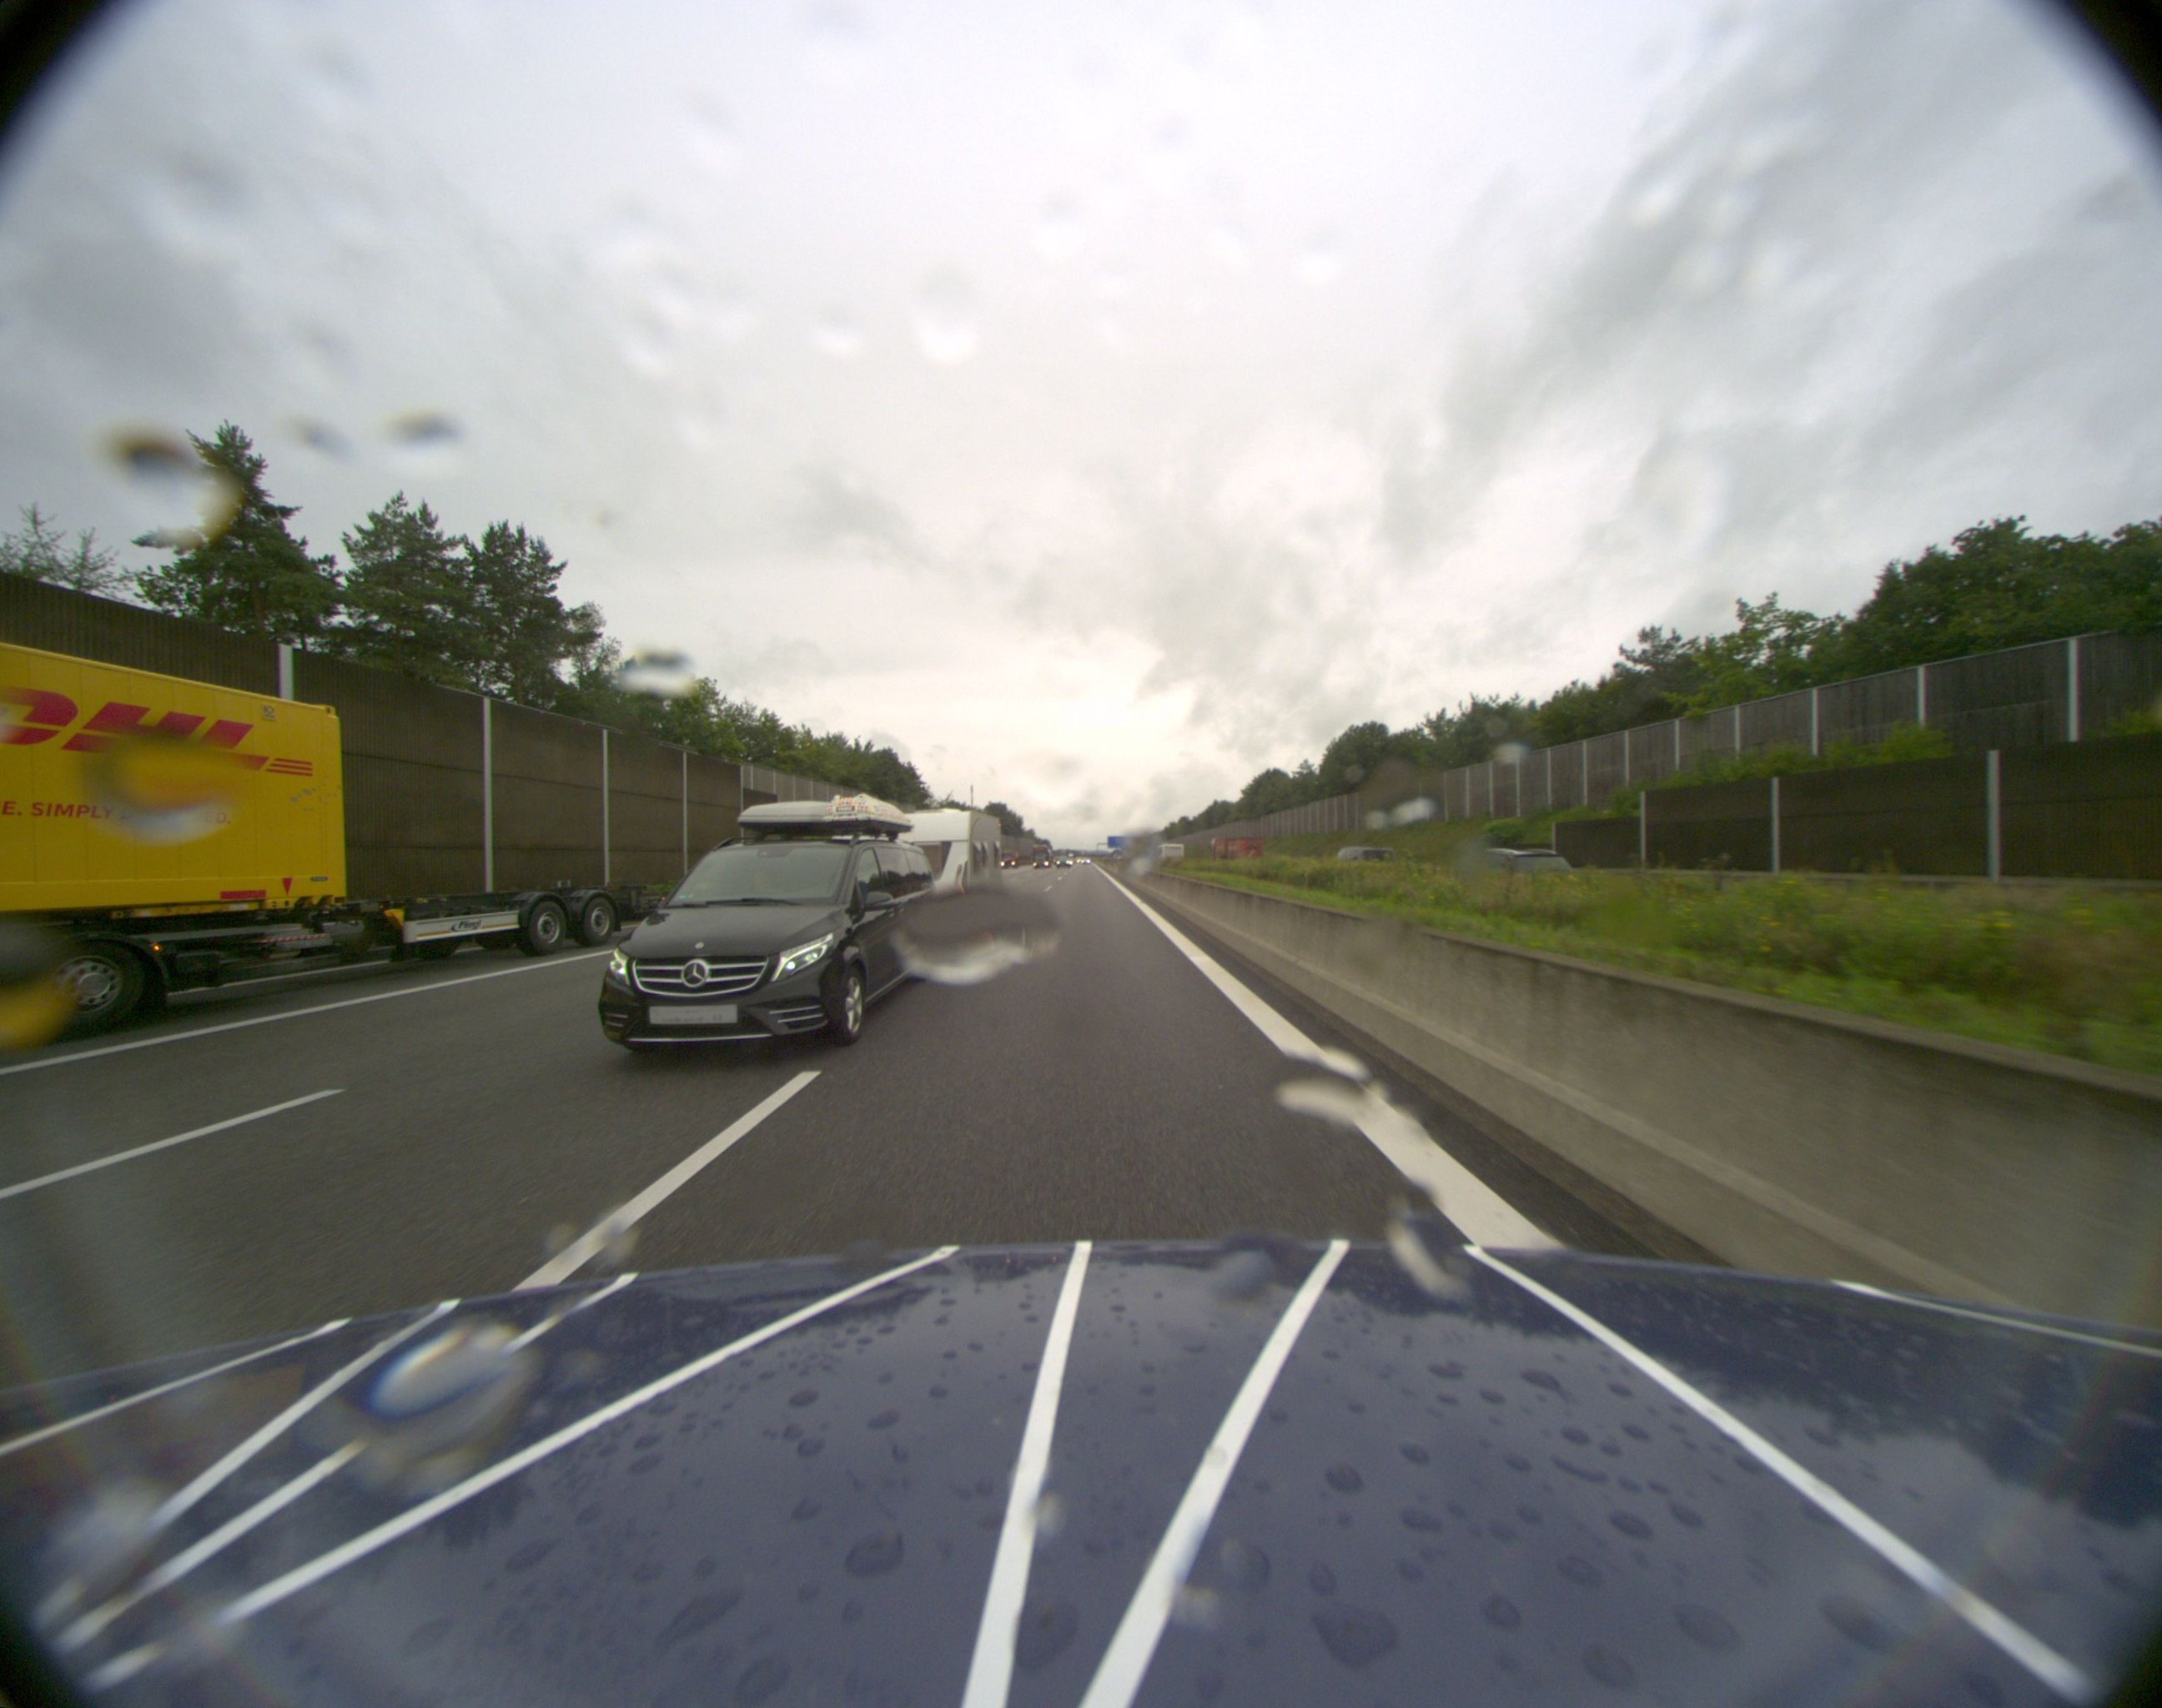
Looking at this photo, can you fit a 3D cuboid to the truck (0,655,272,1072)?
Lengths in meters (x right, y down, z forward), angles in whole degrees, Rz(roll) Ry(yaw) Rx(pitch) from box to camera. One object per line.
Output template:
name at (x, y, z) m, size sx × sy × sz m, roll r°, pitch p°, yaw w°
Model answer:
truck at (-11.508, 0.151, 4.785) m, size 2.692 × 3.935 × 9.325 m, roll -3°, pitch 1°, yaw -1°

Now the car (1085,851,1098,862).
car at (2.340, 0.555, 171.433) m, size 2.680 × 2.340 × 5.807 m, roll -1°, pitch 0°, yaw -1°

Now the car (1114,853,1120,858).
car at (12.312, 0.437, 258.152) m, size 1.977 × 1.679 × 4.357 m, roll -1°, pitch 0°, yaw 1°

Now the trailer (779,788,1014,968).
trailer at (-3.066, 0.354, 15.036) m, size 2.728 × 2.627 × 7.511 m, roll -1°, pitch 0°, yaw 0°

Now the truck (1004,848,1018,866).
truck at (-13.237, 0.550, 144.076) m, size 2.421 × 3.445 × 3.999 m, roll -1°, pitch 0°, yaw -3°

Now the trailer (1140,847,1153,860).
trailer at (21.401, -0.216, 248.762) m, size 3.097 × 4.300 × 14.337 m, roll -1°, pitch 1°, yaw 0°

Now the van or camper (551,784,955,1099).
van or camper at (-2.865, 0.635, 8.396) m, size 1.895 × 2.256 × 5.679 m, roll -2°, pitch 0°, yaw 0°

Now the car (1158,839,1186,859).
car at (10.508, -0.565, 88.088) m, size 2.380 × 2.180 × 7.723 m, roll -1°, pitch 0°, yaw 1°

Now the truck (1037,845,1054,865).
truck at (-5.975, 0.135, 129.755) m, size 2.617 × 3.218 × 4.632 m, roll -1°, pitch 0°, yaw 1°

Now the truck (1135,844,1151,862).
truck at (15.699, -0.220, 193.316) m, size 3.159 × 4.300 × 12.679 m, roll -3°, pitch 1°, yaw 1°

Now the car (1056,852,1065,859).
car at (-5.278, 0.471, 196.705) m, size 1.998 × 1.747 × 4.000 m, roll -2°, pitch 0°, yaw 1°

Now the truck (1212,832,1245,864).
truck at (18.012, -0.700, 93.077) m, size 2.703 × 3.685 × 6.480 m, roll -3°, pitch 1°, yaw 1°

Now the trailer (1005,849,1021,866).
trailer at (-13.317, 0.740, 149.885) m, size 2.452 × 3.228 × 9.399 m, roll -1°, pitch 0°, yaw -2°

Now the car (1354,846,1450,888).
car at (13.278, 0.503, 31.754) m, size 1.998 × 1.532 × 4.769 m, roll -2°, pitch 0°, yaw 1°

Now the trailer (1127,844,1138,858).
trailer at (16.900, -0.928, 250.496) m, size 2.786 × 4.300 × 14.022 m, roll -3°, pitch 0°, yaw 1°

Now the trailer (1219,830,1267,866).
trailer at (17.986, -0.610, 85.162) m, size 2.733 × 3.662 × 12.563 m, roll -1°, pitch 0°, yaw 1°

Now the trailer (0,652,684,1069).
trailer at (-11.540, 0.080, 11.061) m, size 2.658 × 3.930 × 16.683 m, roll -3°, pitch 0°, yaw 0°

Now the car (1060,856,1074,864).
car at (-2.130, 0.917, 116.802) m, size 2.061 × 1.020 × 3.438 m, roll -3°, pitch 0°, yaw 1°

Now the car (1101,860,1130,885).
car at (2.656, 1.399, 59.751) m, size 1.998 × 1.740 × 4.000 m, roll -3°, pitch 0°, yaw 0°
